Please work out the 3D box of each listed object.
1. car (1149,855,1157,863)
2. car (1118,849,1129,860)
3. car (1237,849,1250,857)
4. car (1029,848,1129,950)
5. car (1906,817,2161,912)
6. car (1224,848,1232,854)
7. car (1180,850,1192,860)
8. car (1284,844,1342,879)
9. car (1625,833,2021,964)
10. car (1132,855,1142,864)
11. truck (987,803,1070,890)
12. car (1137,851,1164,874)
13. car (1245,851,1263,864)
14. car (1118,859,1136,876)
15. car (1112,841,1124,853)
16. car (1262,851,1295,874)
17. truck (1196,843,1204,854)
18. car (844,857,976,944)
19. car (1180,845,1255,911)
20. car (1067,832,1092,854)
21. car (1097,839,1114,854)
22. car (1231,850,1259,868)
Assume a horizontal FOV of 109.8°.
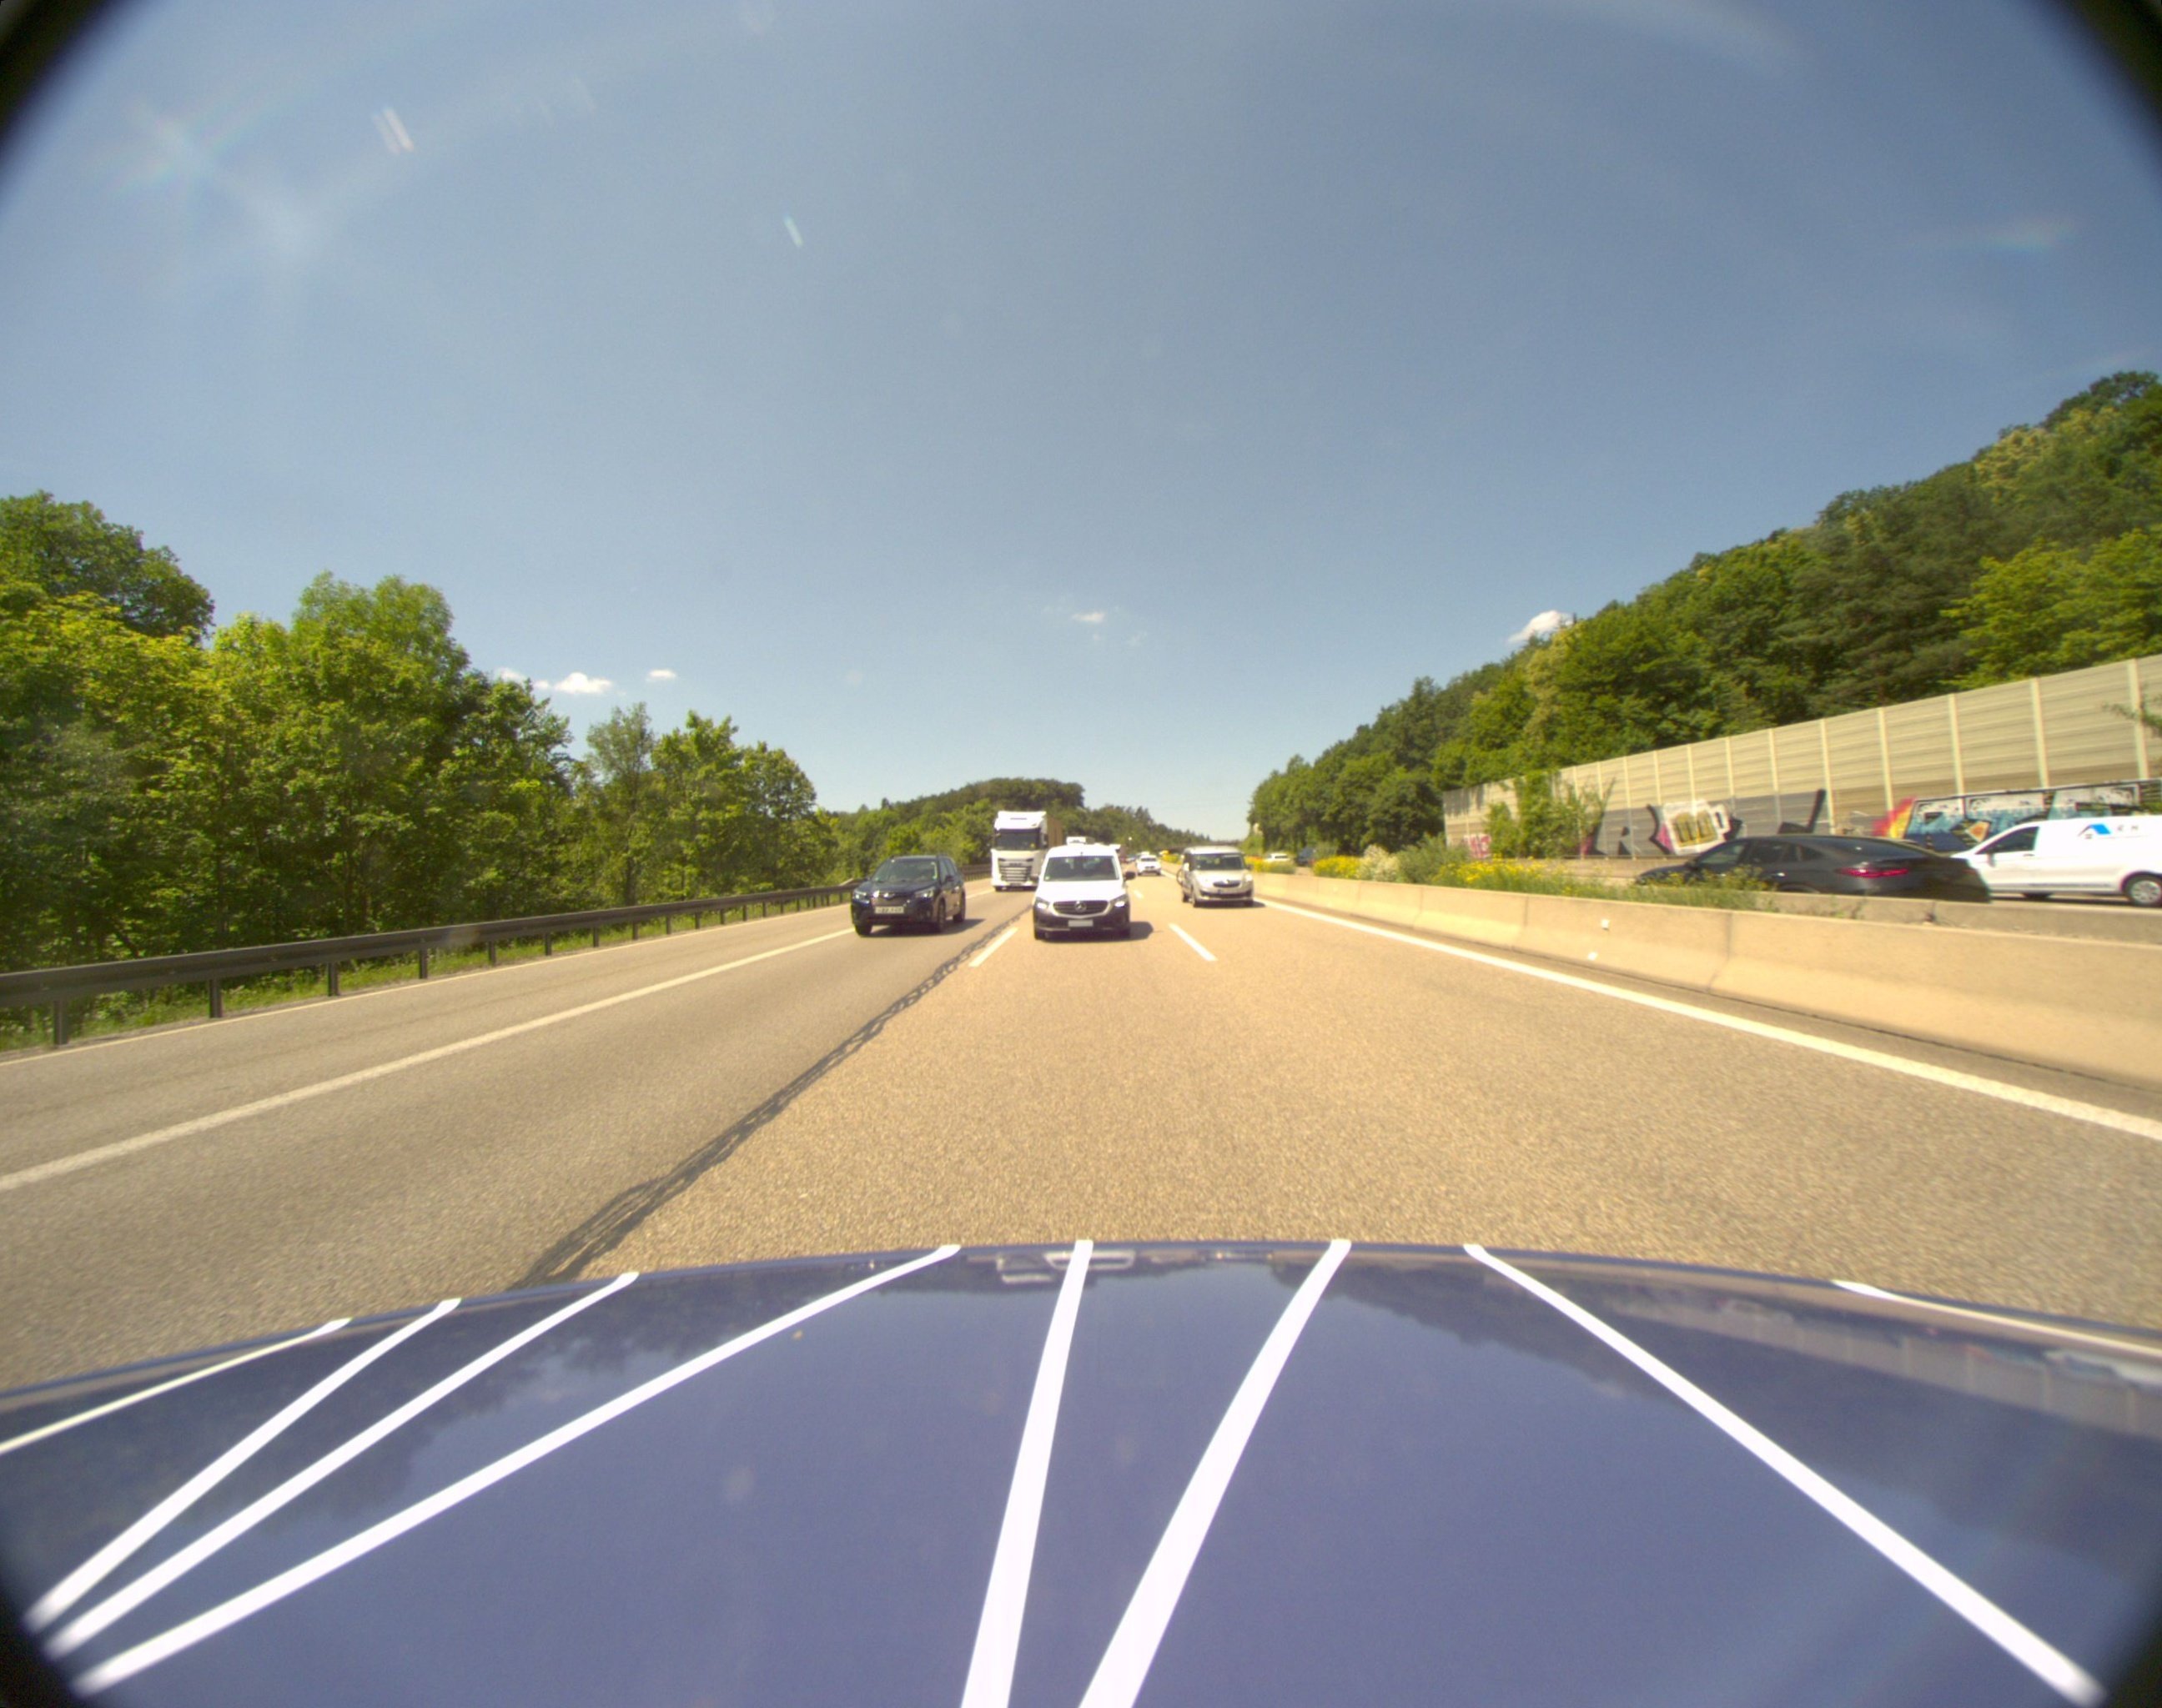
[{"bbox_3d":[18.590,1.177,195.976,1.678,2.002,3.906,-1,0,1],"label":"car"},{"bbox_3d":[7.682,0.094,137.118,1.902,2.002,4.000,-1,0,1],"label":"car"},{"bbox_3d":[31.002,-0.146,145.002,1.633,1.473,4.314,-1,0,3],"label":"car"},{"bbox_3d":[0.085,0.782,15.563,1.729,1.760,4.313,-1,1,3],"label":"car"},{"bbox_3d":[22.164,0.167,16.904,1.926,1.856,5.303,-1,1,1],"label":"car"},{"bbox_3d":[42.554,-0.855,220.638,1.731,1.625,4.001,-2,0,3],"label":"car"},{"bbox_3d":[18.854,0.147,136.521,1.646,1.641,3.713,-2,0,2],"label":"car"},{"bbox_3d":[12.064,0.365,39.754,1.688,1.688,4.659,-1,0,1],"label":"car"},{"bbox_3d":[11.154,0.570,12.034,1.814,1.631,4.603,-2,0,1],"label":"car"},{"bbox_3d":[12.779,1.232,173.019,1.998,2.002,4.001,-1,0,2],"label":"car"},{"bbox_3d":[-2.664,-0.376,44.934,2.789,4.144,16.271,-2,0,3],"label":"truck"},{"bbox_3d":[5.723,0.678,62.821,1.998,1.827,4.001,-1,0,3],"label":"car"},{"bbox_3d":[23.582,0.503,103.851,1.743,1.630,4.188,-1,1,4],"label":"car"},{"bbox_3d":[5.920,1.734,98.221,1.998,2.002,4.000,-1,0,1],"label":"car"},{"bbox_3d":[8.718,-1.627,177.798,2.721,2.534,5.941,-1,1,3],"label":"car"},{"bbox_3d":[17.457,0.694,67.343,1.742,1.911,4.504,-1,1,1],"label":"car"},{"bbox_3d":[39.081,-1.658,249.149,1.998,3.485,6.027,-2,0,3],"label":"truck"},{"bbox_3d":[-3.722,0.949,17.348,1.816,1.658,4.204,-1,1,3],"label":"car"},{"bbox_3d":[4.118,0.673,23.448,1.780,1.833,4.001,-1,0,3],"label":"car"},{"bbox_3d":[-0.098,-1.369,93.022,2.721,2.534,5.941,-1,1,3],"label":"car"},{"bbox_3d":[4.183,-1.261,129.967,2.721,2.534,5.941,-1,1,3],"label":"car"},{"bbox_3d":[13.980,0.397,65.082,1.620,1.459,3.754,-1,0,1],"label":"car"}]
